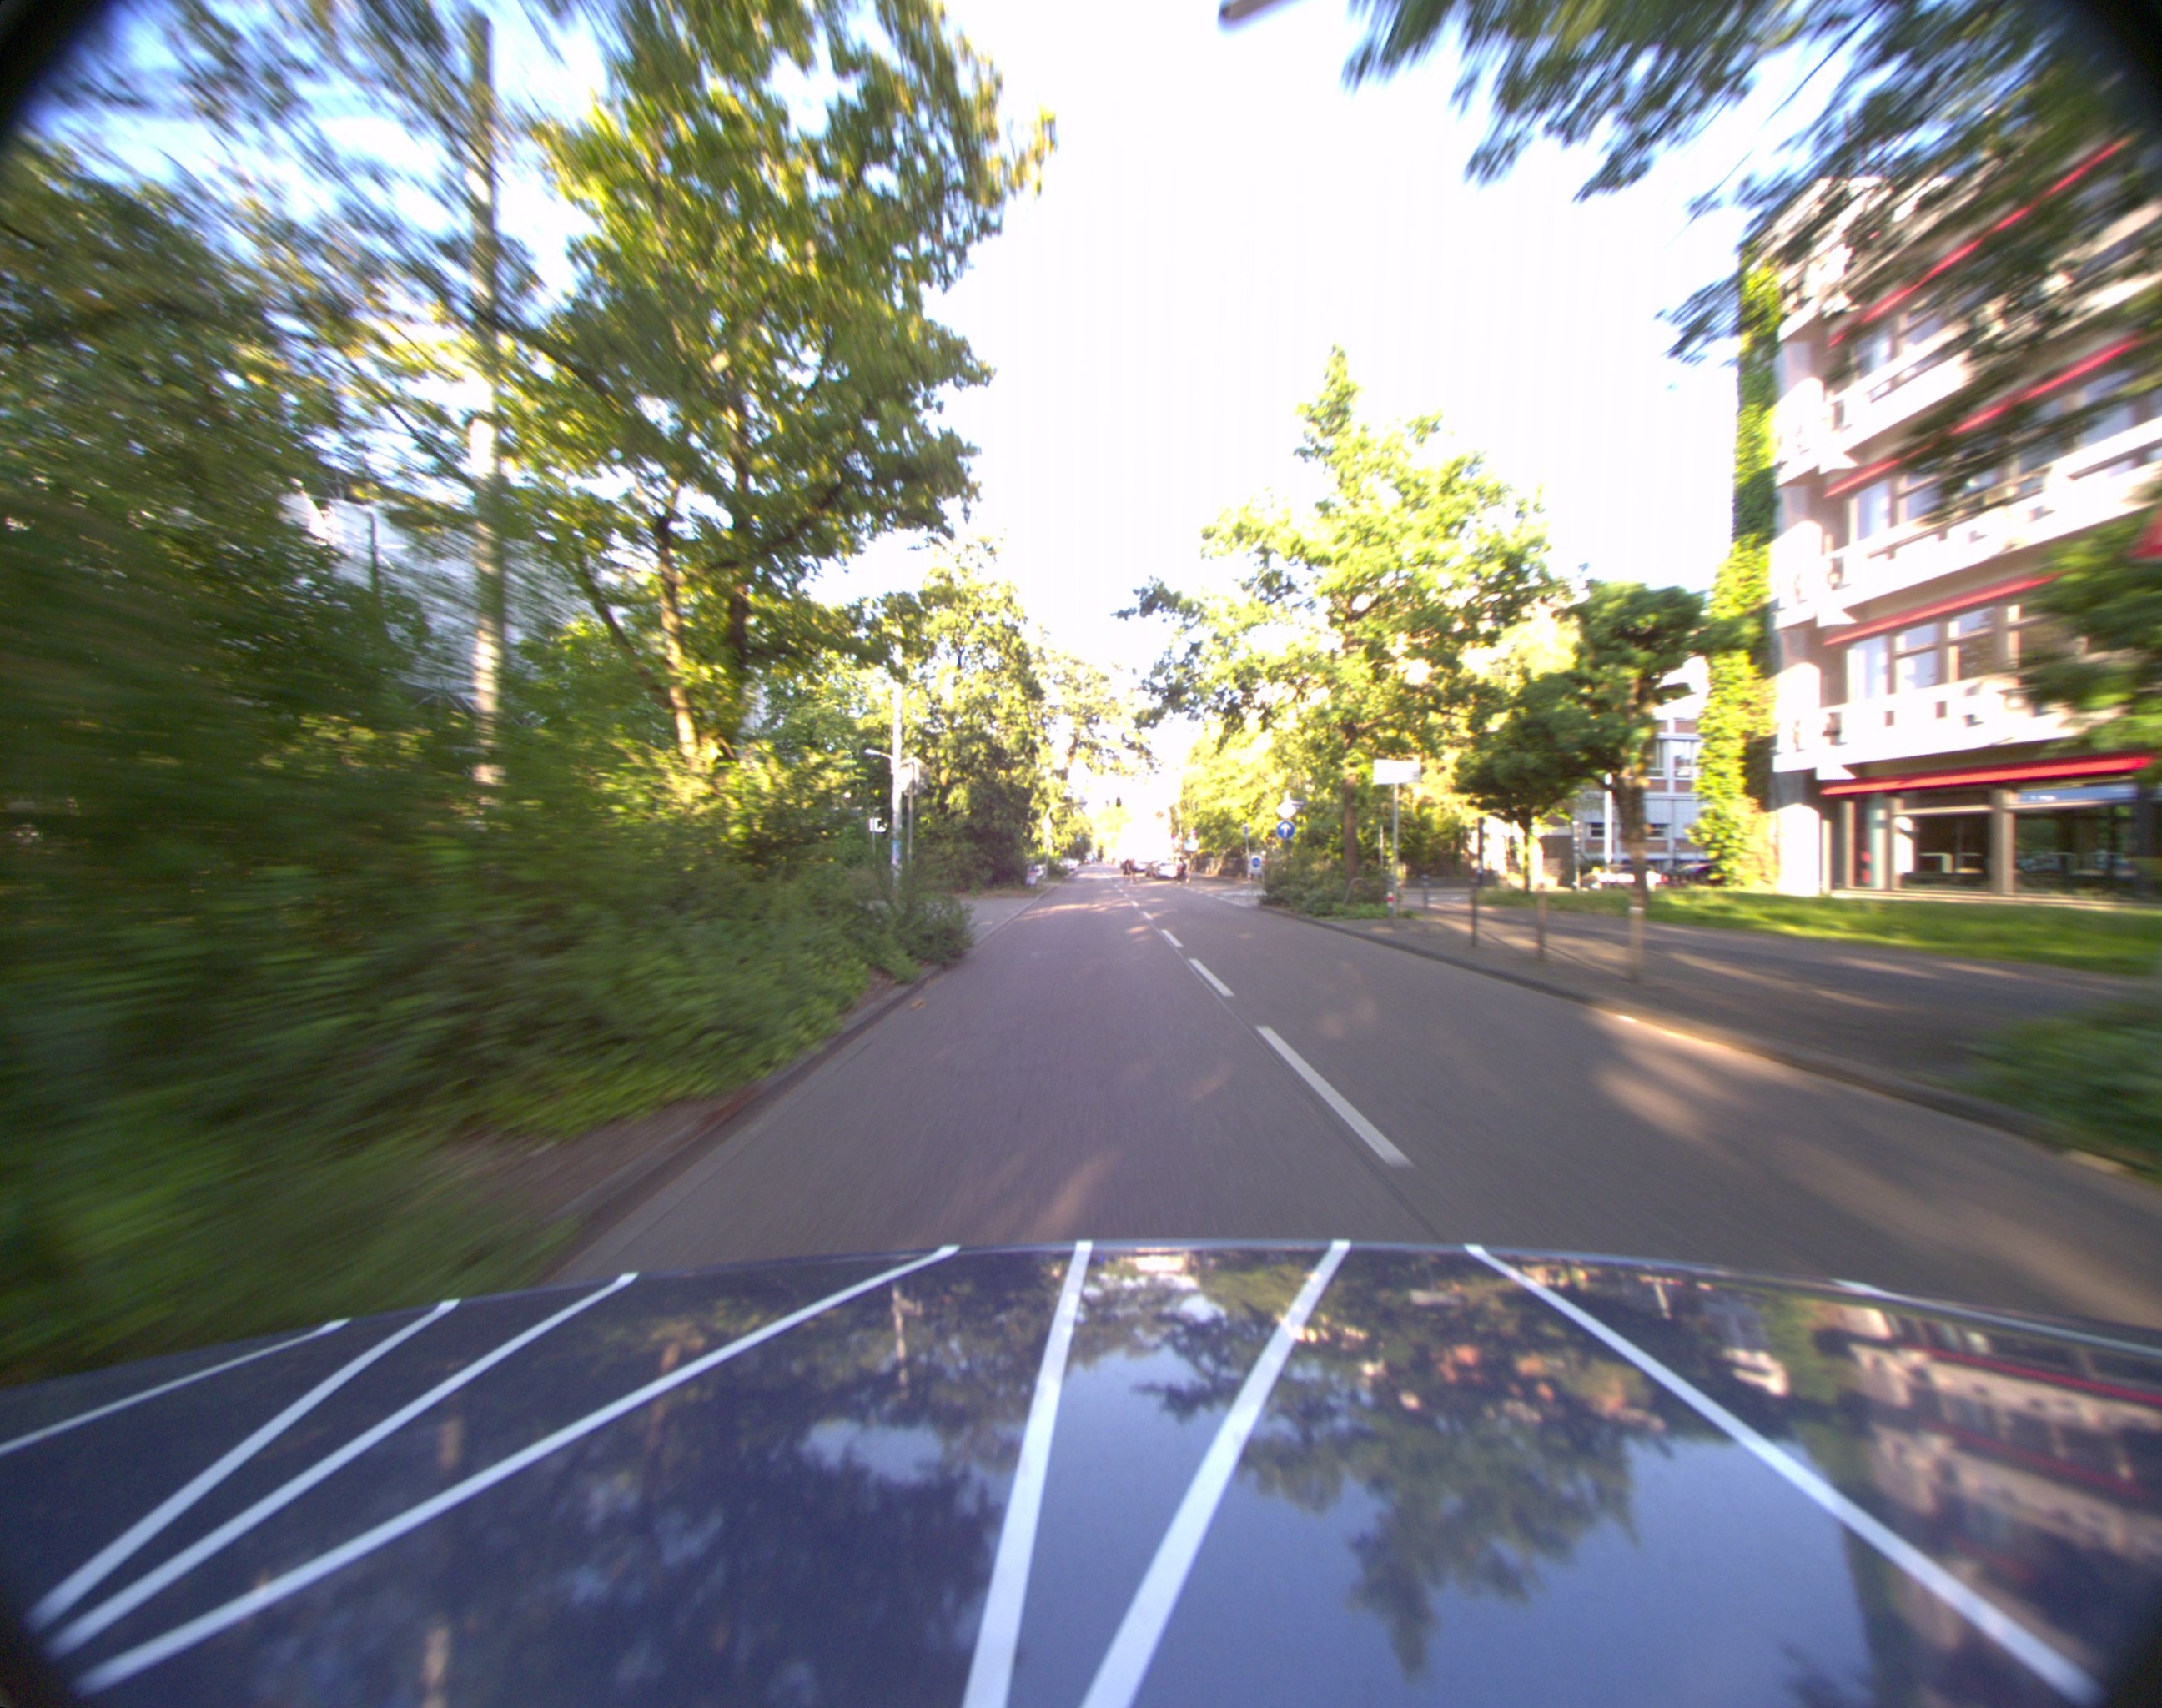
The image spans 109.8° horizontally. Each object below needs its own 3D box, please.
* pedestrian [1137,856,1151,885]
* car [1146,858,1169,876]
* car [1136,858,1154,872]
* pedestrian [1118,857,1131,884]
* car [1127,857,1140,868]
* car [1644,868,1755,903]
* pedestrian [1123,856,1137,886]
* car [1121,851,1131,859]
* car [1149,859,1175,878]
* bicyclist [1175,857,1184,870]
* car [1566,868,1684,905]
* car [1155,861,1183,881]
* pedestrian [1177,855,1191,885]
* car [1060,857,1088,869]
[{"bbox_3d":[4.022,1.072,48.582,0.784,1.825,0.673,-2,0,4],"label":"pedestrian"},{"bbox_3d":[6.994,1.195,70.028,1.776,1.559,4.109,-1,0,1],"label":"car"},{"bbox_3d":[7.422,1.316,88.196,1.776,1.559,4.109,-1,0,1],"label":"car"},{"bbox_3d":[2.804,1.061,48.785,0.784,1.665,0.673,-2,0,4],"label":"pedestrian"},{"bbox_3d":[7.813,1.217,113.248,1.776,1.559,4.109,-1,0,1],"label":"car"},{"bbox_3d":[26.985,1.380,33.209,3.646,1.399,1.775,1,2,-10],"label":"car"},{"bbox_3d":[3.032,1.057,47.255,0.784,1.825,0.673,-2,0,4],"label":"pedestrian"},{"bbox_3d":[8.909,0.206,150.415,1.776,1.559,4.109,-1,0,1],"label":"car"},{"bbox_3d":[6.831,1.187,64.406,1.776,1.559,4.109,-1,0,1],"label":"car"},{"bbox_3d":[10.418,1.003,80.260,0.752,1.445,1.060,0,0,1],"label":"bicyclist"},{"bbox_3d":[23.128,1.375,32.375,3.963,1.441,1.775,1,2,-10],"label":"car"},{"bbox_3d":[6.725,1.272,58.409,1.776,1.474,4.109,-1,0,1],"label":"car"},{"bbox_3d":[6.309,0.966,46.642,0.784,1.825,0.673,-2,0,4],"label":"pedestrian"},{"bbox_3d":[-1.050,1.340,109.885,2.004,1.630,3.990,-2,0,-36],"label":"car"}]
